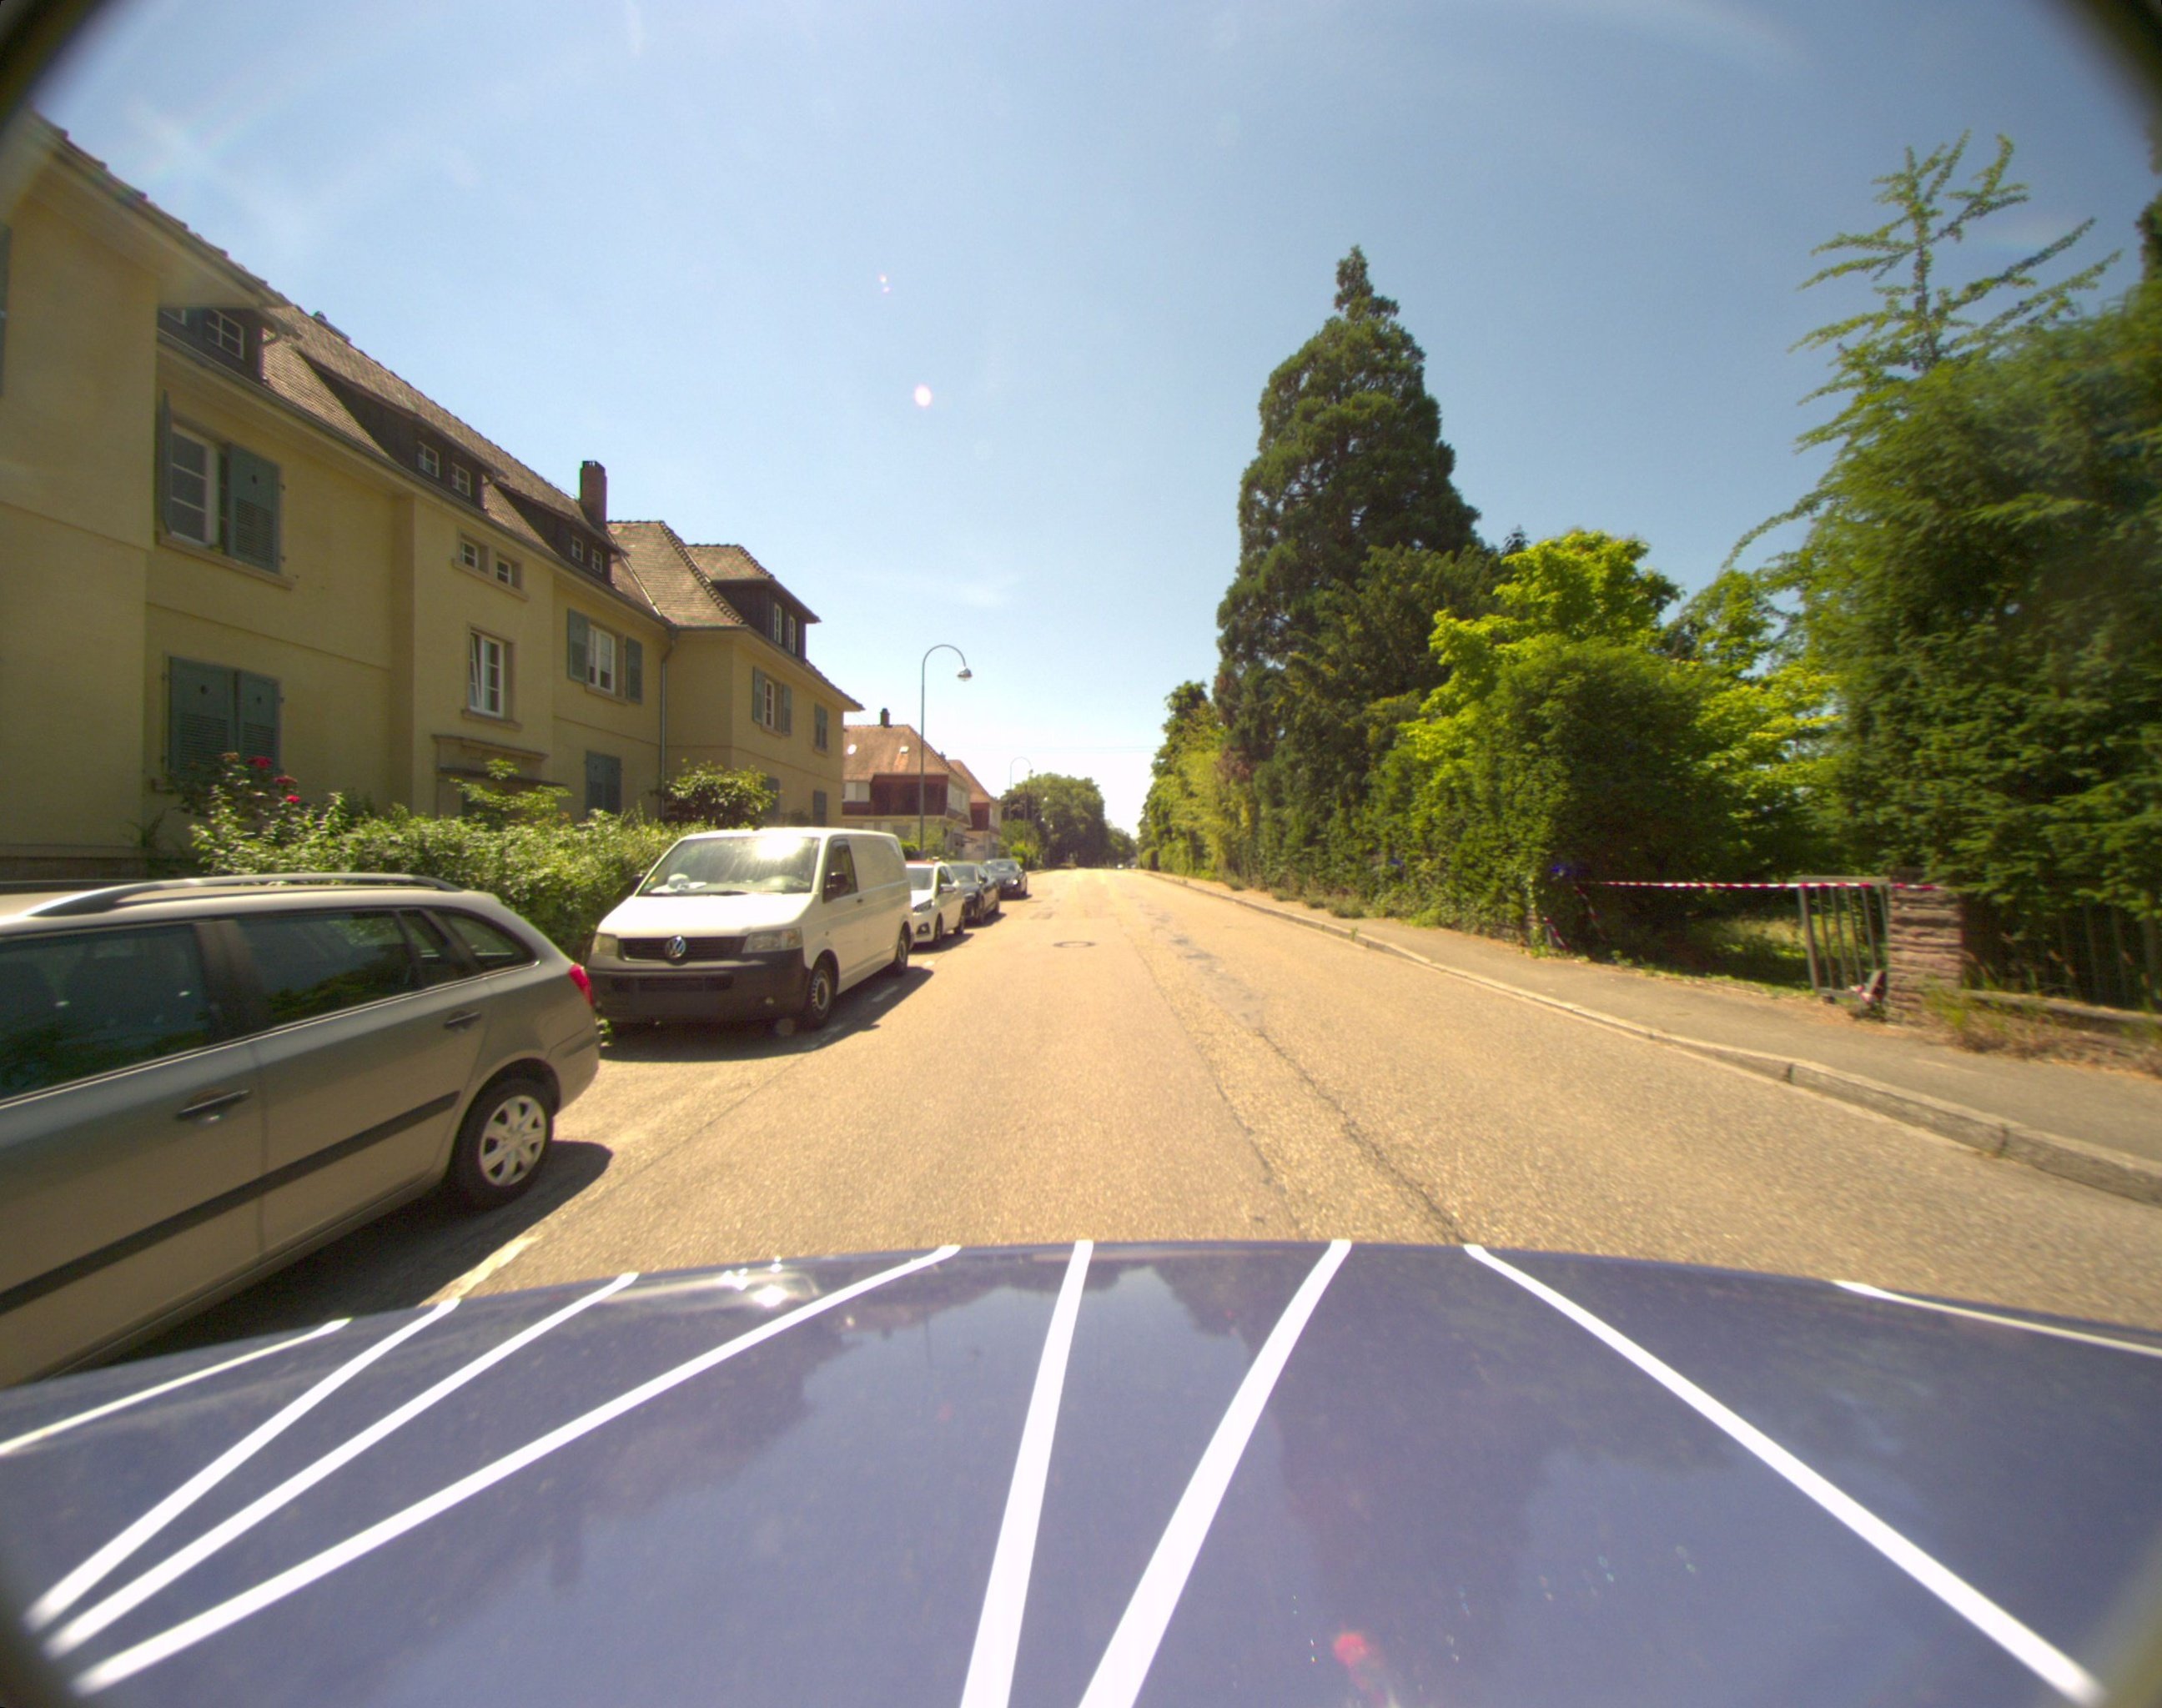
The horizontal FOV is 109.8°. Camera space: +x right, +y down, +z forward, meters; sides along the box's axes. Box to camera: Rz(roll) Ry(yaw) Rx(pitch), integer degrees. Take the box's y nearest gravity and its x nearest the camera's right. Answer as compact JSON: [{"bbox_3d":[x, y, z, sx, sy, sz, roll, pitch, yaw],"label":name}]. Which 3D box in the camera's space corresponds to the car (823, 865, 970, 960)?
[{"bbox_3d":[-3.166,0.948,13.756,1.765,1.443,3.648,0,0,0],"label":"car"}]

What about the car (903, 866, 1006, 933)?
[{"bbox_3d":[-2.942,1.007,18.591,1.765,1.363,4.607,0,0,0],"label":"car"}]

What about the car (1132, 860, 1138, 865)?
[{"bbox_3d":[17.430,2.810,245.847,1.684,1.364,4.208,2,-1,2],"label":"car"}]

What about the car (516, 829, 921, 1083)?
[{"bbox_3d":[-3.299,0.789,8.274,1.998,1.890,4.822,-2,0,0],"label":"car"}]

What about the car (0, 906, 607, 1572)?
[{"bbox_3d":[-3.472,1.001,2.031,1.765,1.443,4.223,0,0,0],"label":"car"}]

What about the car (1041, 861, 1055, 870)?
[{"bbox_3d":[-6.136,2.164,141.357,1.882,1.623,4.325,1,-1,9],"label":"car"}]

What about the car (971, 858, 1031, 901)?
[{"bbox_3d":[-2.847,0.865,27.901,1.697,1.410,4.550,0,0,0],"label":"car"}]
